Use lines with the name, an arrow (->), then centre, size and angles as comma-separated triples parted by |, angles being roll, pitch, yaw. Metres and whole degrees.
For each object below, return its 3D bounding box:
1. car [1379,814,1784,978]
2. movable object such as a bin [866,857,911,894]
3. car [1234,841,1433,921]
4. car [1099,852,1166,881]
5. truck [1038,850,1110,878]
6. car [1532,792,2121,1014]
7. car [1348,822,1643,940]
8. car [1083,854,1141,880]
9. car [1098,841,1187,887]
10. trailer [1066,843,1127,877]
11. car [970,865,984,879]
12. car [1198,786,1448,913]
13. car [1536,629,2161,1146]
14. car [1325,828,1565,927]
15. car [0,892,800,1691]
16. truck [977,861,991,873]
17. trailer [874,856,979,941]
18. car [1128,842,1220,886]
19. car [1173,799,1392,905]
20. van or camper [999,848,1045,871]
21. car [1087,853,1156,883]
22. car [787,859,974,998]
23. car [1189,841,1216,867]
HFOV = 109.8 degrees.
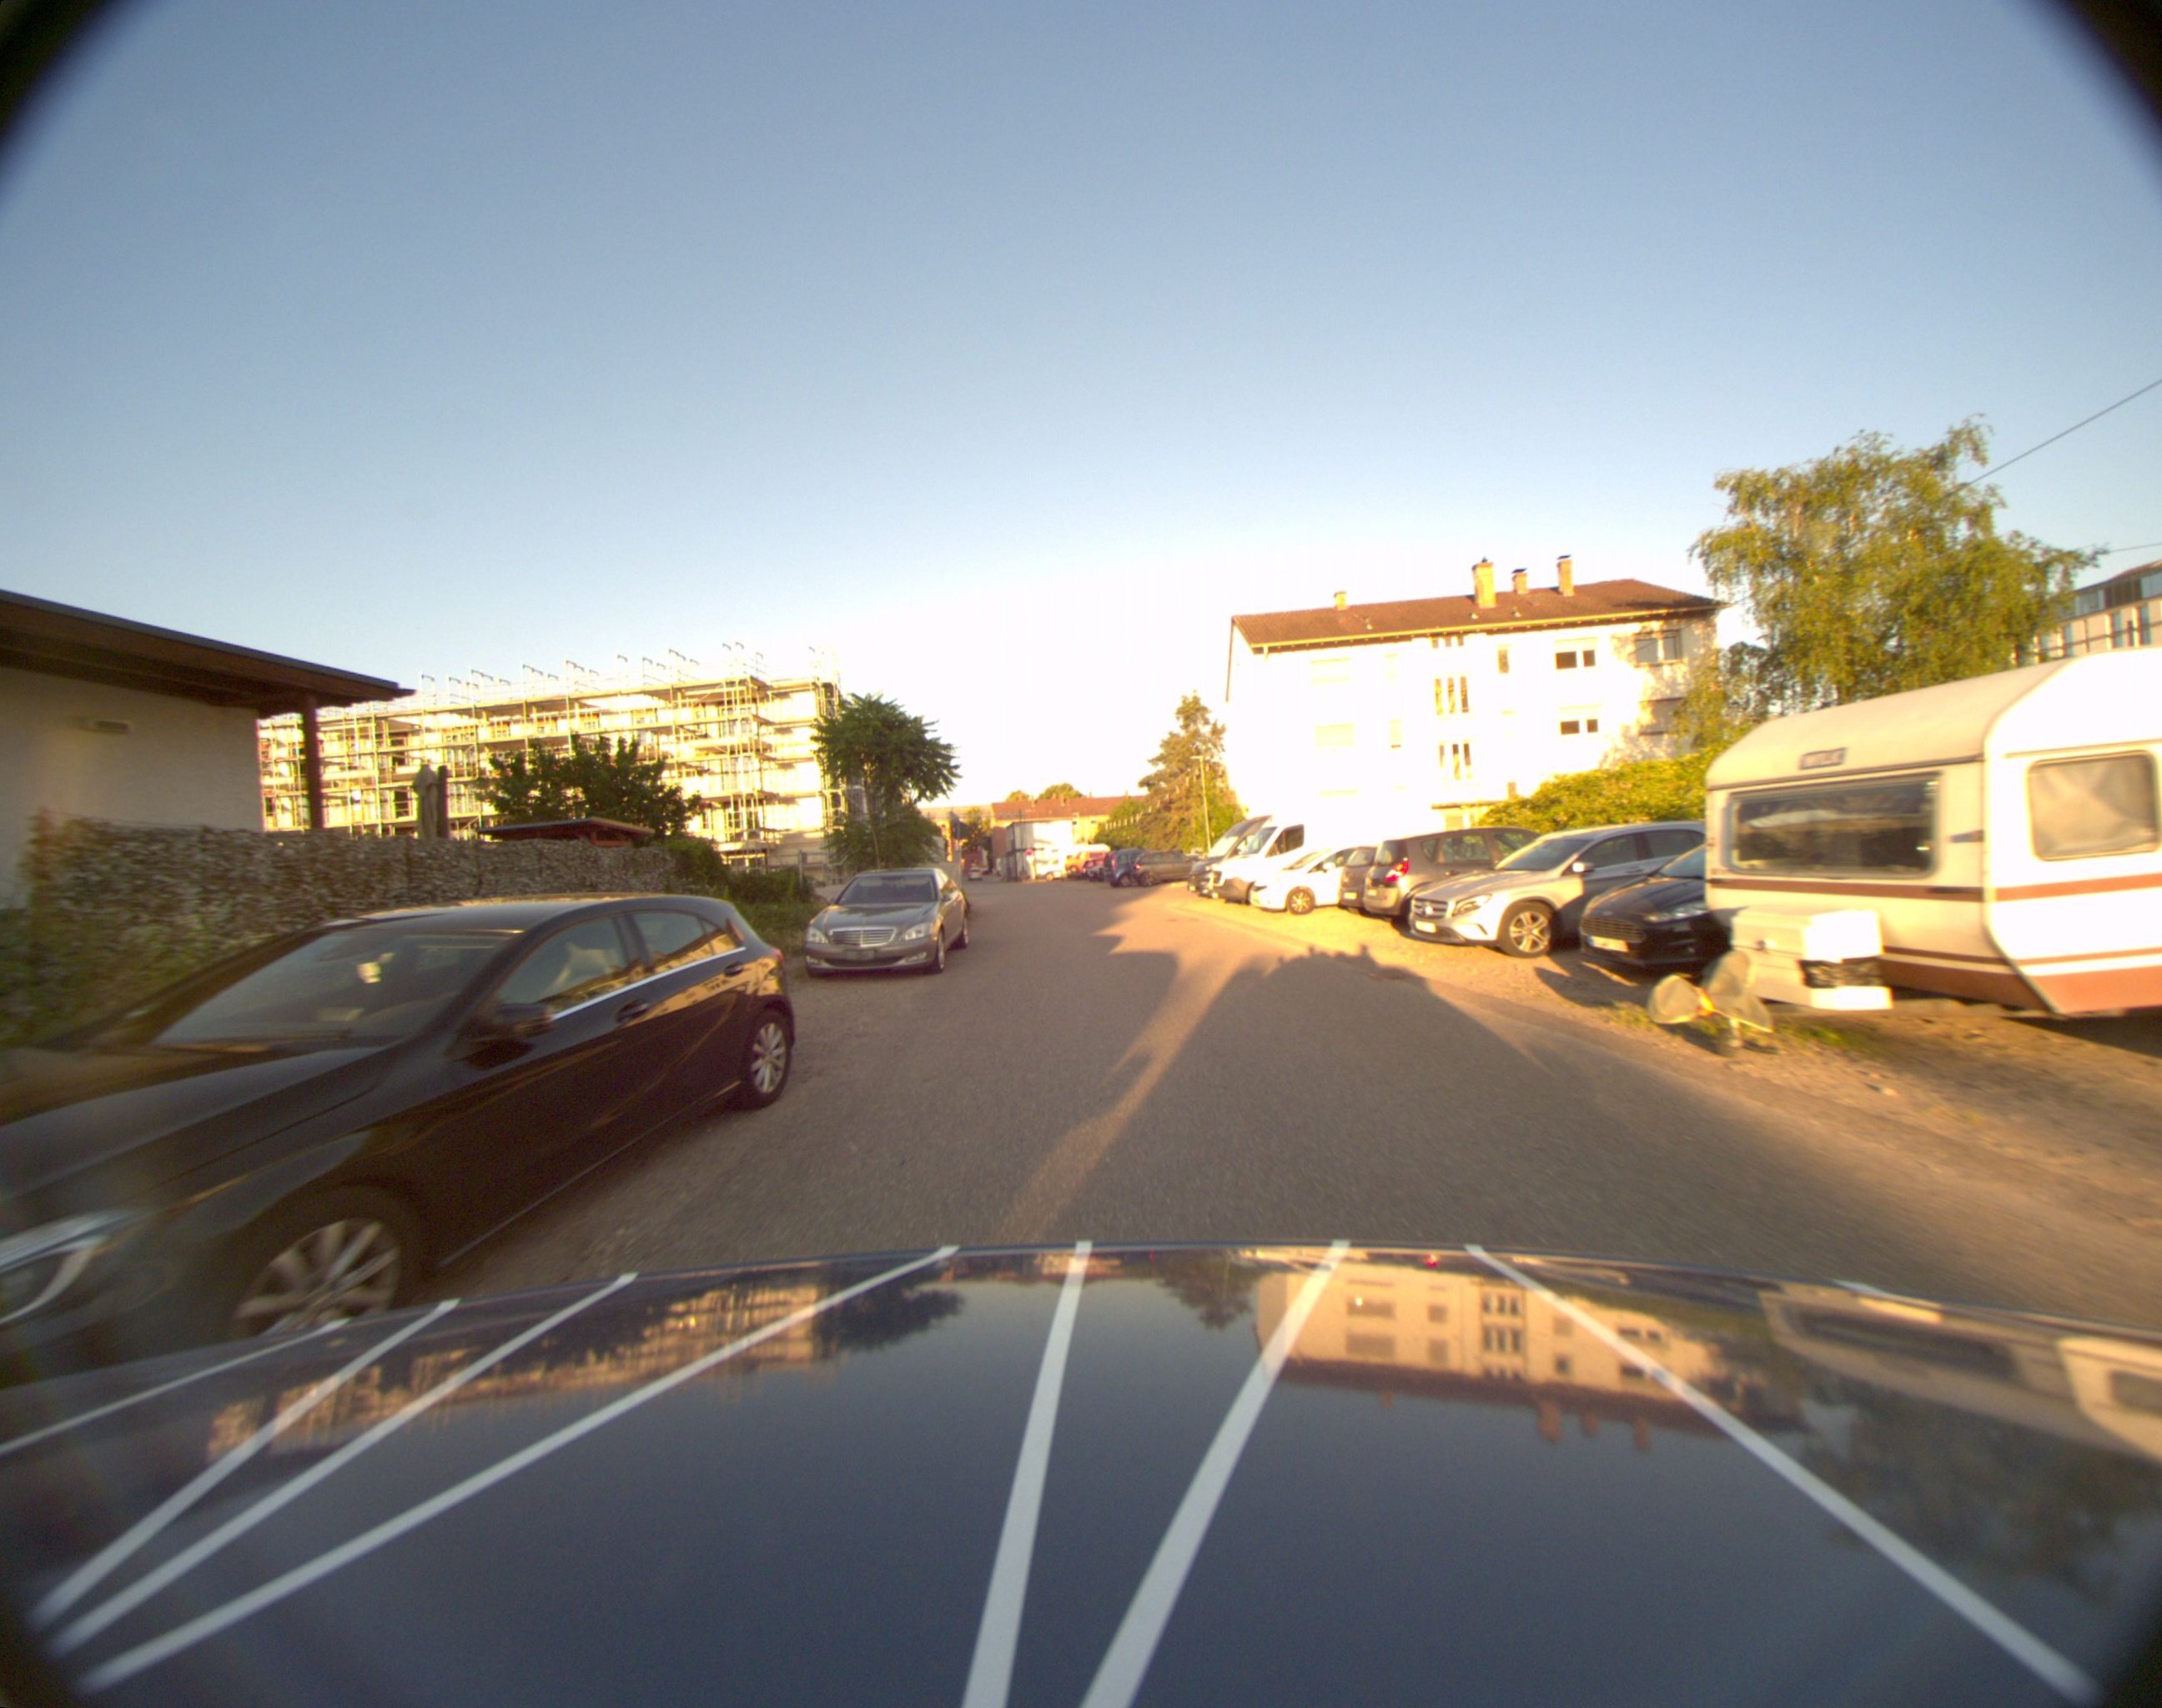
car -> 6.392, 0.493, 10.012 | 4.137, 1.581, 1.747 | -5, 1, -3
movable object such as a bin -> -13.159, 1.436, 52.541 | 2.071, 2.260, 8.362 | -3, 0, -8
car -> 5.791, 0.594, 17.735 | 3.936, 1.498, 1.789 | -4, 1, -4
car -> 3.148, 0.753, 46.910 | 3.935, 1.508, 1.643 | -4, 1, 0
truck -> -0.631, 0.889, 66.896 | 6.030, 2.031, 2.354 | -4, 0, -7
car -> 7.159, 0.422, 7.618 | 4.137, 1.581, 1.748 | -5, 1, -1
car -> 6.806, 0.438, 12.841 | 3.934, 1.581, 1.749 | -4, 0, 4
car -> 2.215, 0.915, 55.372 | 4.046, 1.610, 1.849 | -4, 0, 0
car -> 3.085, 0.517, 38.133 | 3.940, 1.900, 1.746 | -5, 0, -17
trailer -> 1.266, 0.474, 64.253 | 4.805, 2.419, 2.133 | -5, 2, -3
car -> -13.359, 2.284, 97.335 | 1.676, 1.610, 4.282 | -4, 0, -9
car -> 6.372, -0.123, 20.382 | 5.843, 2.697, 2.050 | -6, 0, -6
car -> 6.805, -0.015, 5.060 | 5.902, 2.519, 2.411 | -5, 1, 2
car -> 7.183, 0.427, 15.229 | 3.936, 1.582, 1.747 | -4, 1, -4
car -> -3.031, 1.060, 3.358 | 1.708, 1.510, 4.089 | -3, 0, 5
truck -> -18.413, 2.447, 144.662 | 1.843, 2.089, 3.735 | -6, 1, -16
trailer -> -3.625, 0.966, 18.726 | 1.735, 1.767, 4.936 | -2, 0, -3
car -> 4.314, 0.477, 35.729 | 3.936, 1.642, 1.748 | -6, 0, -1
car -> 6.482, -0.115, 24.654 | 6.409, 2.698, 2.111 | -6, 2, -11
van or camper -> -8.813, 0.827, 113.100 | 6.474, 2.625, 2.405 | -6, 0, -8
car -> 2.599, 0.920, 49.347 | 4.102, 1.617, 1.821 | -4, -3, -7
car -> -2.903, 0.964, 12.170 | 1.811, 1.714, 4.927 | -2, 0, -2
car -> 11.484, 0.049, 72.028 | 1.848, 2.135, 4.824 | -4, -2, 2
